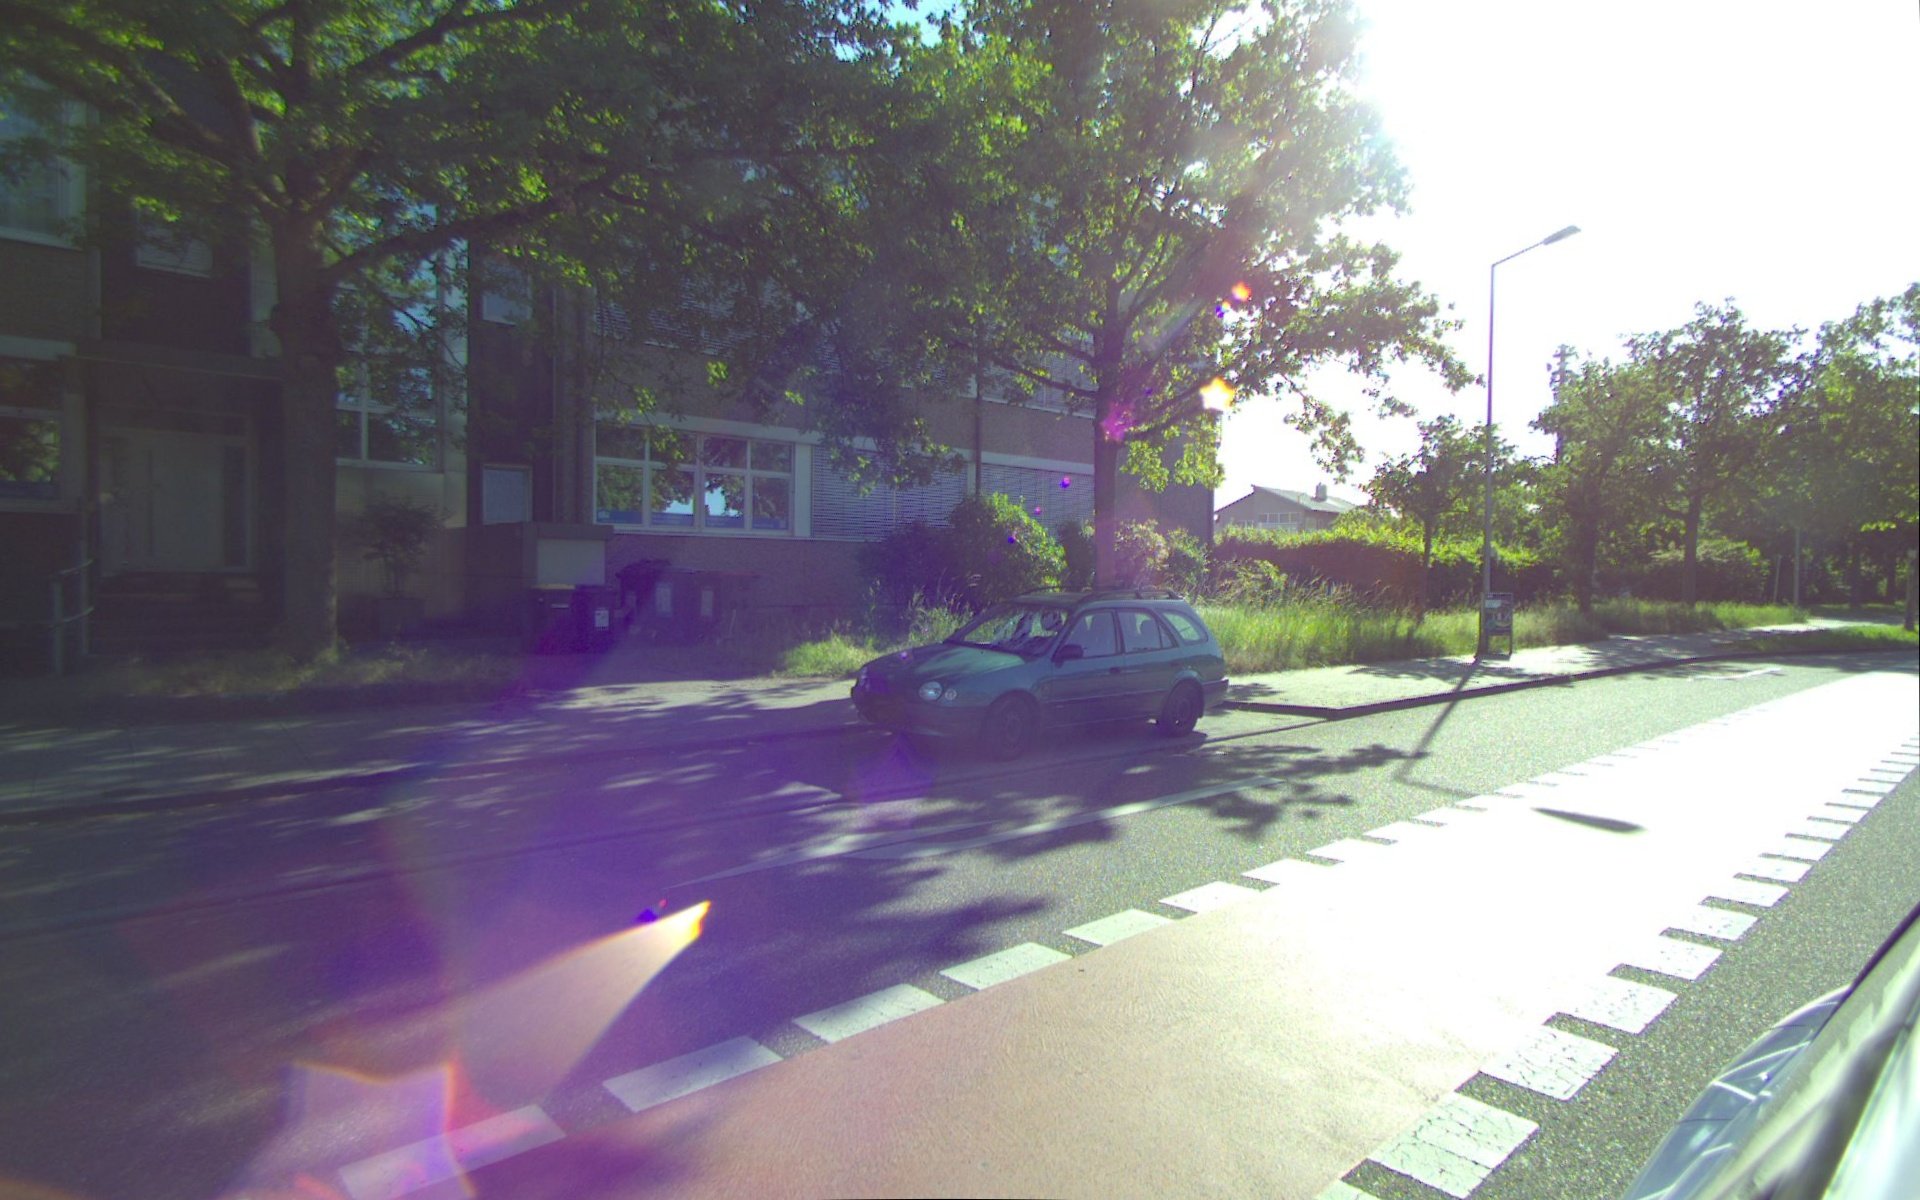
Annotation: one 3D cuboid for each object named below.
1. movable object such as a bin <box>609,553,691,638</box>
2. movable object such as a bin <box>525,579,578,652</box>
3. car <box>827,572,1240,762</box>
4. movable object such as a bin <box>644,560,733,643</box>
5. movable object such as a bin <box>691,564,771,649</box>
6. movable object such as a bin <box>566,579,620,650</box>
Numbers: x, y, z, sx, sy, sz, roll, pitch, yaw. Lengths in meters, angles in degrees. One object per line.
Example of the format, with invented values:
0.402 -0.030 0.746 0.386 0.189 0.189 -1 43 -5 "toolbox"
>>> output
-5.774 -0.113 18.819 1.024 1.501 1.309 -1 3 -41 "movable object such as a bin"
-6.205 0.222 15.376 0.575 1.070 0.625 0 1 -42 "movable object such as a bin"
0.868 0.532 10.016 4.068 1.487 1.705 1 1 -41 "car"
-4.764 0.002 17.740 1.070 1.388 1.186 -1 3 -43 "movable object such as a bin"
-3.773 0.083 16.653 0.878 1.323 1.186 -1 2 -37 "movable object such as a bin"
-5.749 0.212 15.857 0.604 1.075 0.634 -1 1 -42 "movable object such as a bin"
